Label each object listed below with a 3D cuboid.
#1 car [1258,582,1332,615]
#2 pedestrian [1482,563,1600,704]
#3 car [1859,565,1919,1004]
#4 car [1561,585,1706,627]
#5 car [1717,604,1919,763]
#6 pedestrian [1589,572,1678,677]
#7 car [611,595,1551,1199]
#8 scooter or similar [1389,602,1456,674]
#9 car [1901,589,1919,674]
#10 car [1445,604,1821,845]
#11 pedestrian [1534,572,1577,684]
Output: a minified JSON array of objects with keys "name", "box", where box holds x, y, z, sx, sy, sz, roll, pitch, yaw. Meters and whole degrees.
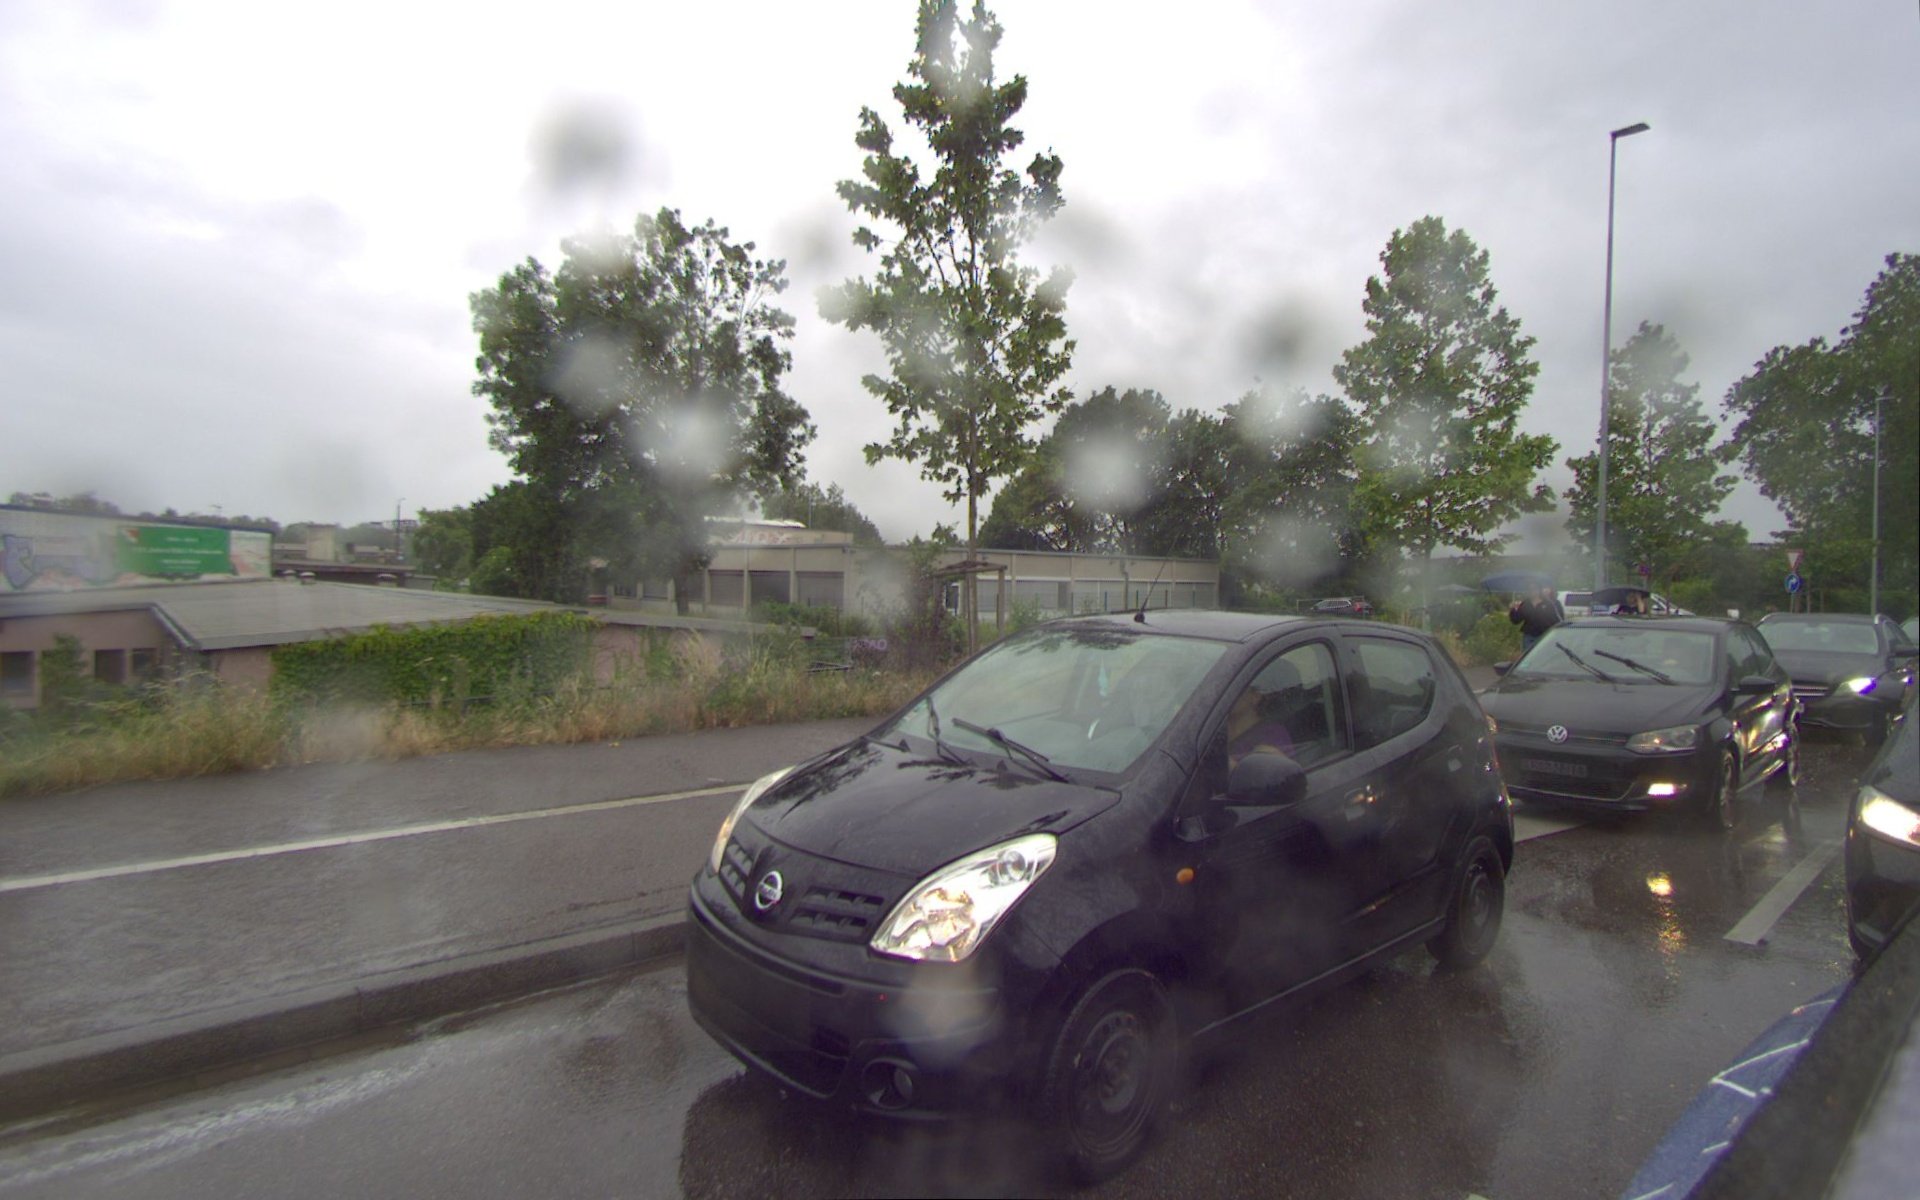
[{"name":"car","box":[20.997,-0.104,63.473,1.964,2.039,3.996,0,0,-38]},{"name":"pedestrian","box":[7.809,0.415,13.623,0.953,1.777,1.081,0,3,-42]},{"name":"car","box":[5.492,0.658,4.526,4.091,1.607,1.688,-1,0,-41]},{"name":"car","box":[28.131,0.205,42.404,1.966,1.670,4.752,-1,1,-42]},{"name":"car","box":[10.846,0.883,12.458,3.747,1.594,1.697,-1,0,-41]},{"name":"pedestrian","box":[11.716,0.395,17.613,0.876,1.729,1.024,0,3,-41]},{"name":"car","box":[0.733,0.720,3.861,3.561,1.447,1.631,0,0,-42]},{"name":"scooter or similar","box":[7.900,0.618,17.244,1.747,1.144,0.380,-1,2,-43]},{"name":"car","box":[18.926,0.551,18.859,4.052,1.488,1.702,-1,1,-42]},{"name":"car","box":[5.384,0.765,7.939,3.561,1.447,1.631,0,0,-42]},{"name":"pedestrian","box":[9.133,0.413,15.524,0.433,1.682,0.400,0,3,-42]}]
